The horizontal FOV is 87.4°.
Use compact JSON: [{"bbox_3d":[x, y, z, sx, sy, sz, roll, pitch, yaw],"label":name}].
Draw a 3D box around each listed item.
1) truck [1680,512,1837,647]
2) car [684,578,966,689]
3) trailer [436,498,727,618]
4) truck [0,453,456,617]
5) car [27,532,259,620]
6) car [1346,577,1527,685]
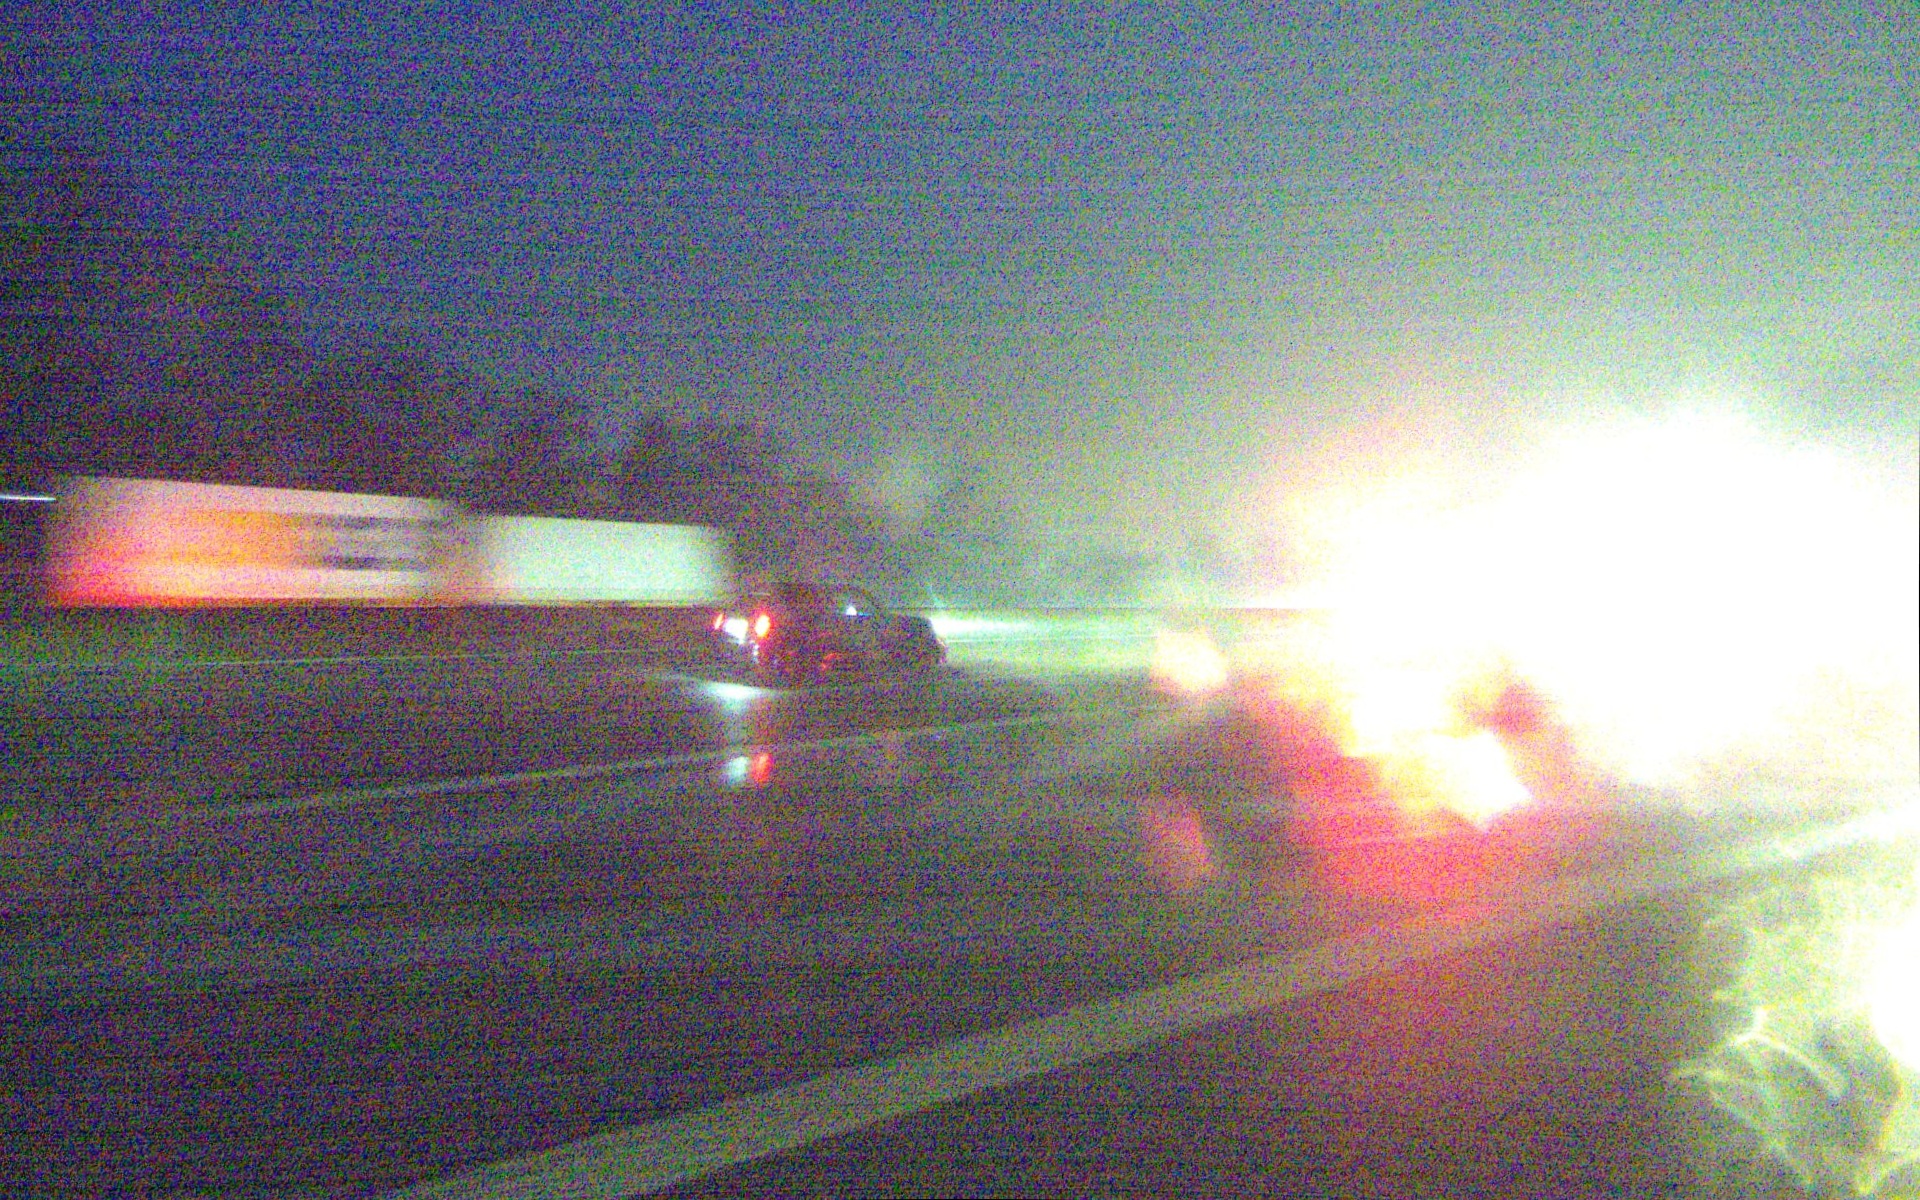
[{"bbox_3d":[38.337,-0.875,47.993,11.388,5.724,4.169,1,2,-44],"label":"truck"},{"bbox_3d":[-2.041,0.466,15.806,3.971,1.460,1.975,1,2,-43],"label":"car"},{"bbox_3d":[-12.445,-1.247,33.819,8.827,3.557,2.600,1,2,-44],"label":"trailer"},{"bbox_3d":[-19.705,-1.482,26.907,10.788,3.743,2.600,1,2,-44],"label":"truck"},{"bbox_3d":[-18.568,-0.522,22.955,3.970,1.832,1.886,1,2,-42],"label":"car"},{"bbox_3d":[10.451,0.601,21.859,2.104,2.041,4.616,3,2,45],"label":"car"}]
